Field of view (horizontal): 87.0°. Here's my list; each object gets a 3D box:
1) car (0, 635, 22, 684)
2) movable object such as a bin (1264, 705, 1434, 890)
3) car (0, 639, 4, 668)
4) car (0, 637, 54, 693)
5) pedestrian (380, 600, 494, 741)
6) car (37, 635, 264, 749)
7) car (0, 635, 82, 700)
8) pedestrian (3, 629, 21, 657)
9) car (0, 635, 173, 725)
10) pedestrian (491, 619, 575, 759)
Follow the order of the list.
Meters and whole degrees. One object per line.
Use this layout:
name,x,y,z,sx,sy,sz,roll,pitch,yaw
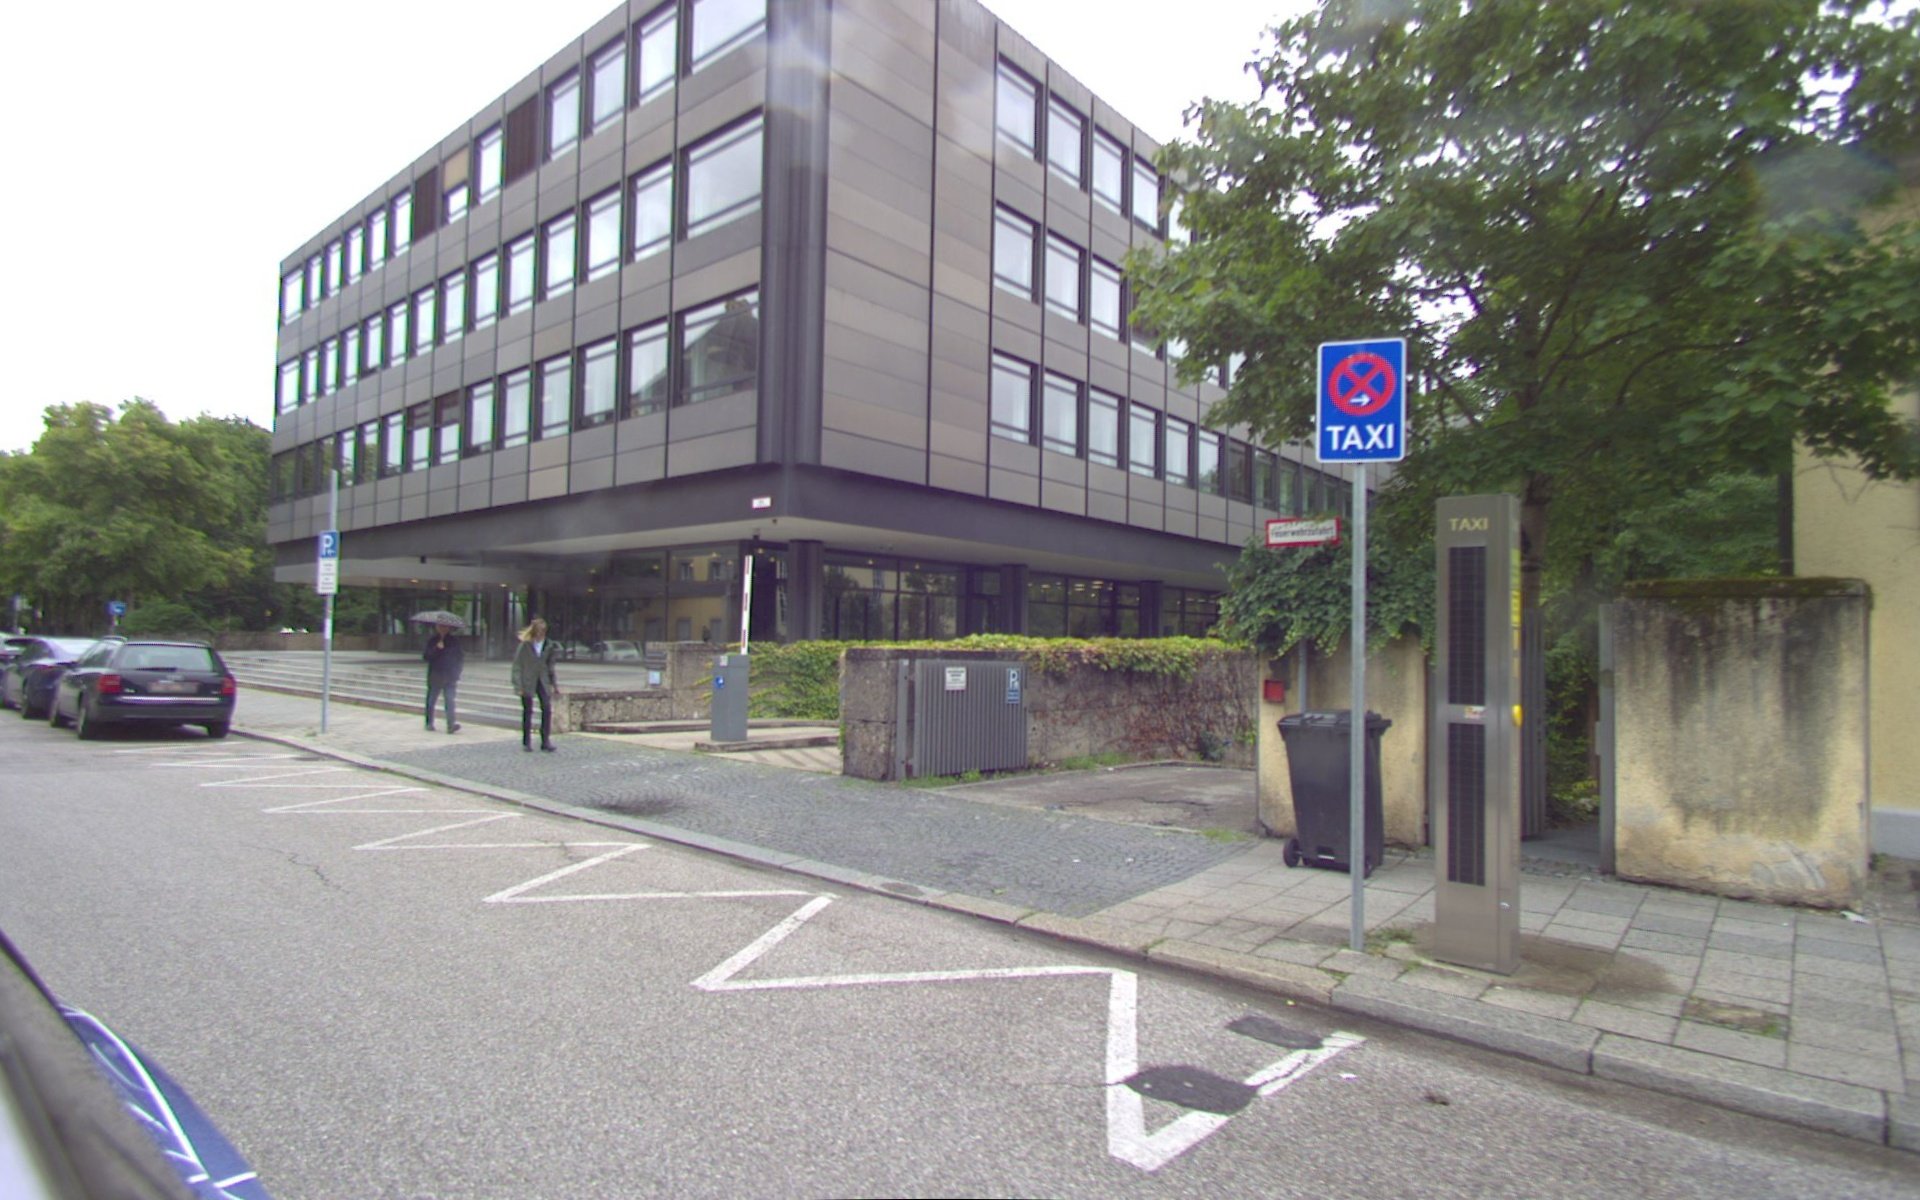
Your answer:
car,-30.946,1.845,31.908,3.551,1.482,1.527,-2,-5,41
movable object such as a bin,2.673,1.296,6.935,0.839,1.072,0.926,-2,-4,38
car,-34.788,1.991,35.248,4.216,1.411,1.739,-2,-7,42
car,-26.766,1.757,28.232,4.278,1.451,1.664,-1,-6,42
pedestrian,-8.147,1.077,15.773,1.220,2.070,1.123,-2,-4,40
car,-12.838,1.353,15.927,4.882,1.502,1.972,-1,-5,42
car,-23.049,1.611,24.837,4.236,1.472,1.721,-2,-6,43
pedestrian,-61.727,2.809,65.919,0.660,1.744,0.788,-1,0,39
car,-16.895,1.463,19.274,4.913,1.450,1.903,-1,-5,40
pedestrian,-5.675,1.139,13.432,0.744,1.762,0.954,0,-2,-43
